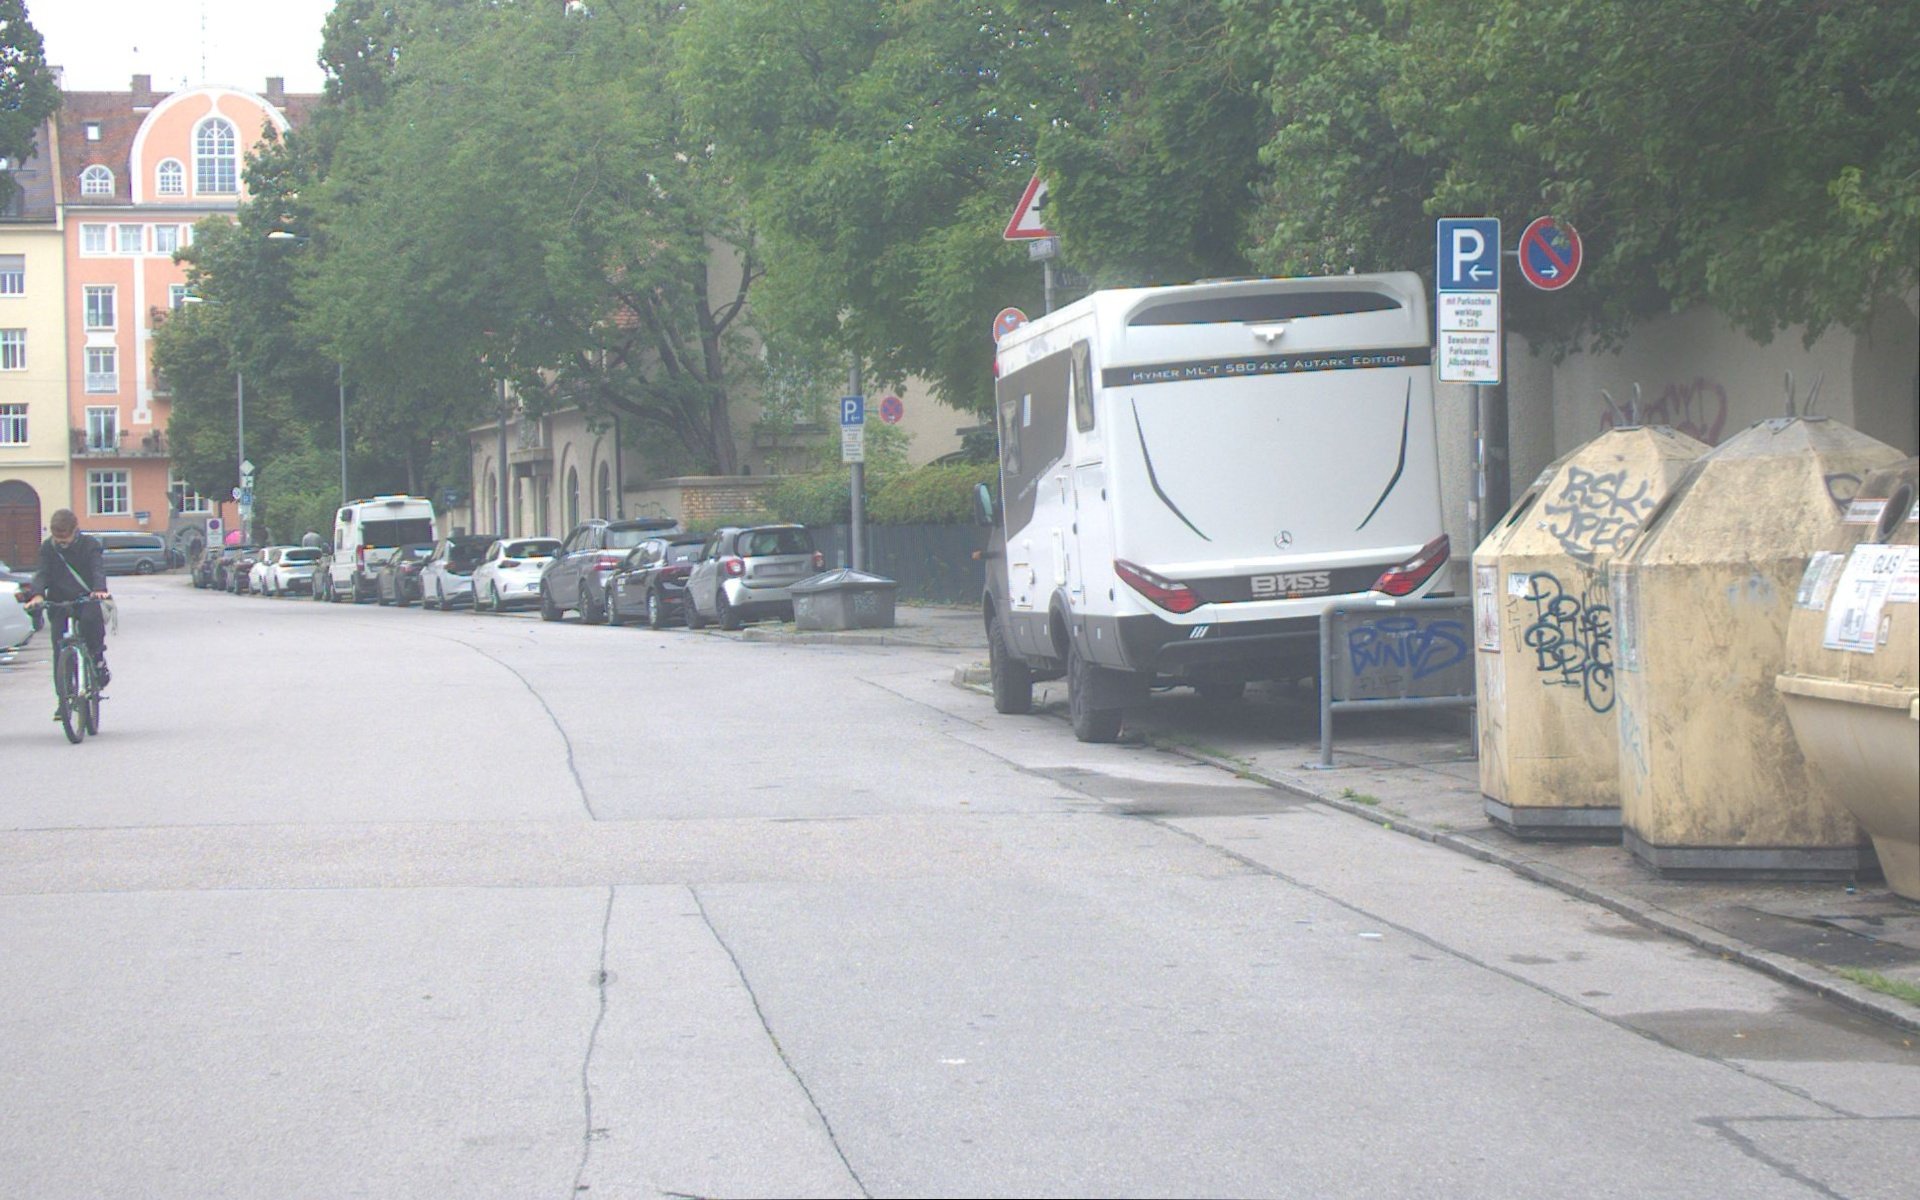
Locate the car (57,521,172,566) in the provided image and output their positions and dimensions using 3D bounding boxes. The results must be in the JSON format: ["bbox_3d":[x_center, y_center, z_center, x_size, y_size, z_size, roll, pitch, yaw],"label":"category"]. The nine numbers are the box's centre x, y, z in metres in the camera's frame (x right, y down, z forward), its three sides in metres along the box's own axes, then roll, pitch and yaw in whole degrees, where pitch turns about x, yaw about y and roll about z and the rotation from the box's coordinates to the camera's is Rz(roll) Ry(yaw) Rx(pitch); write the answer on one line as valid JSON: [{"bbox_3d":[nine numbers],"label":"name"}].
[{"bbox_3d":[-36.824,-2.466,149.696,4.702,1.874,1.841,-1,1,-19],"label":"car"}]

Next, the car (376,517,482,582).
[{"bbox_3d":[-12.201,-1.159,78.777,1.707,1.364,4.442,-3,2,-17],"label":"car"}]

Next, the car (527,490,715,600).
[{"bbox_3d":[-5.893,-0.960,59.234,1.993,1.705,4.886,-4,2,-20],"label":"car"}]

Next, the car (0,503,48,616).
[{"bbox_3d":[-16.224,-0.541,51.631,2.135,1.693,4.402,-1,2,41],"label":"car"}]

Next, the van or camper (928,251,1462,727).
[{"bbox_3d":[1.443,-0.796,24.936,2.272,2.896,7.279,-2,2,-9],"label":"van or camper"}]

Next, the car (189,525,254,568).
[{"bbox_3d":[-26.107,-1.913,121.405,1.670,1.339,3.839,-3,4,-20],"label":"car"}]

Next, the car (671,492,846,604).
[{"bbox_3d":[-3.011,-0.760,50.930,1.738,1.531,2.947,-4,1,-20],"label":"car"}]

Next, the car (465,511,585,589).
[{"bbox_3d":[-8.685,-0.981,68.415,1.685,1.436,4.001,-3,1,-17],"label":"car"}]

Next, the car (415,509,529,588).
[{"bbox_3d":[-10.425,-1.108,73.259,1.707,1.532,4.241,-4,2,-17],"label":"car"}]

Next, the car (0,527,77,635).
[{"bbox_3d":[-14.366,-0.196,46.262,1.964,1.434,4.402,-1,2,42],"label":"car"}]

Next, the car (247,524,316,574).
[{"bbox_3d":[-21.251,-1.599,107.563,1.707,1.461,3.839,-3,2,-16],"label":"car"}]

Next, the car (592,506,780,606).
[{"bbox_3d":[-4.419,-0.717,54.831,1.876,1.422,4.223,-4,2,-20],"label":"car"}]

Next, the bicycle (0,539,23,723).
[{"bbox_3d":[-7.187,0.239,24.315,0.707,1.301,2.119,-2,2,-6],"label":"bicycle"}]

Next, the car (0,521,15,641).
[{"bbox_3d":[-14.389,-0.076,42.970,4.505,1.504,1.931,-6,3,-41],"label":"car"}]

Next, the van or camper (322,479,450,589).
[{"bbox_3d":[-14.297,-1.649,85.310,2.192,2.541,5.730,-3,2,-18],"label":"van or camper"}]

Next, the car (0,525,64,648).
[{"bbox_3d":[-13.202,-0.078,40.893,4.504,1.446,1.896,-3,2,-41],"label":"car"}]

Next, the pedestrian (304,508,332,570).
[{"bbox_3d":[-21.047,-1.997,112.765,0.772,2.007,0.563,-2,1,-20],"label":"pedestrian"}]

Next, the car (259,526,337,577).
[{"bbox_3d":[-19.814,-1.465,102.834,1.707,1.403,4.131,-3,2,-18],"label":"car"}]

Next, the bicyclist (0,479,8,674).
[{"bbox_3d":[-7.207,-0.153,24.381,0.696,1.392,0.930,-2,2,-6],"label":"bicyclist"}]

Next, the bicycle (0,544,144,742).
[{"bbox_3d":[-6.308,0.275,24.369,0.706,1.301,2.119,-2,2,-6],"label":"bicycle"}]

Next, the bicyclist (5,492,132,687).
[{"bbox_3d":[-6.335,-0.088,24.459,0.696,1.347,0.930,-2,2,-5],"label":"bicyclist"}]
